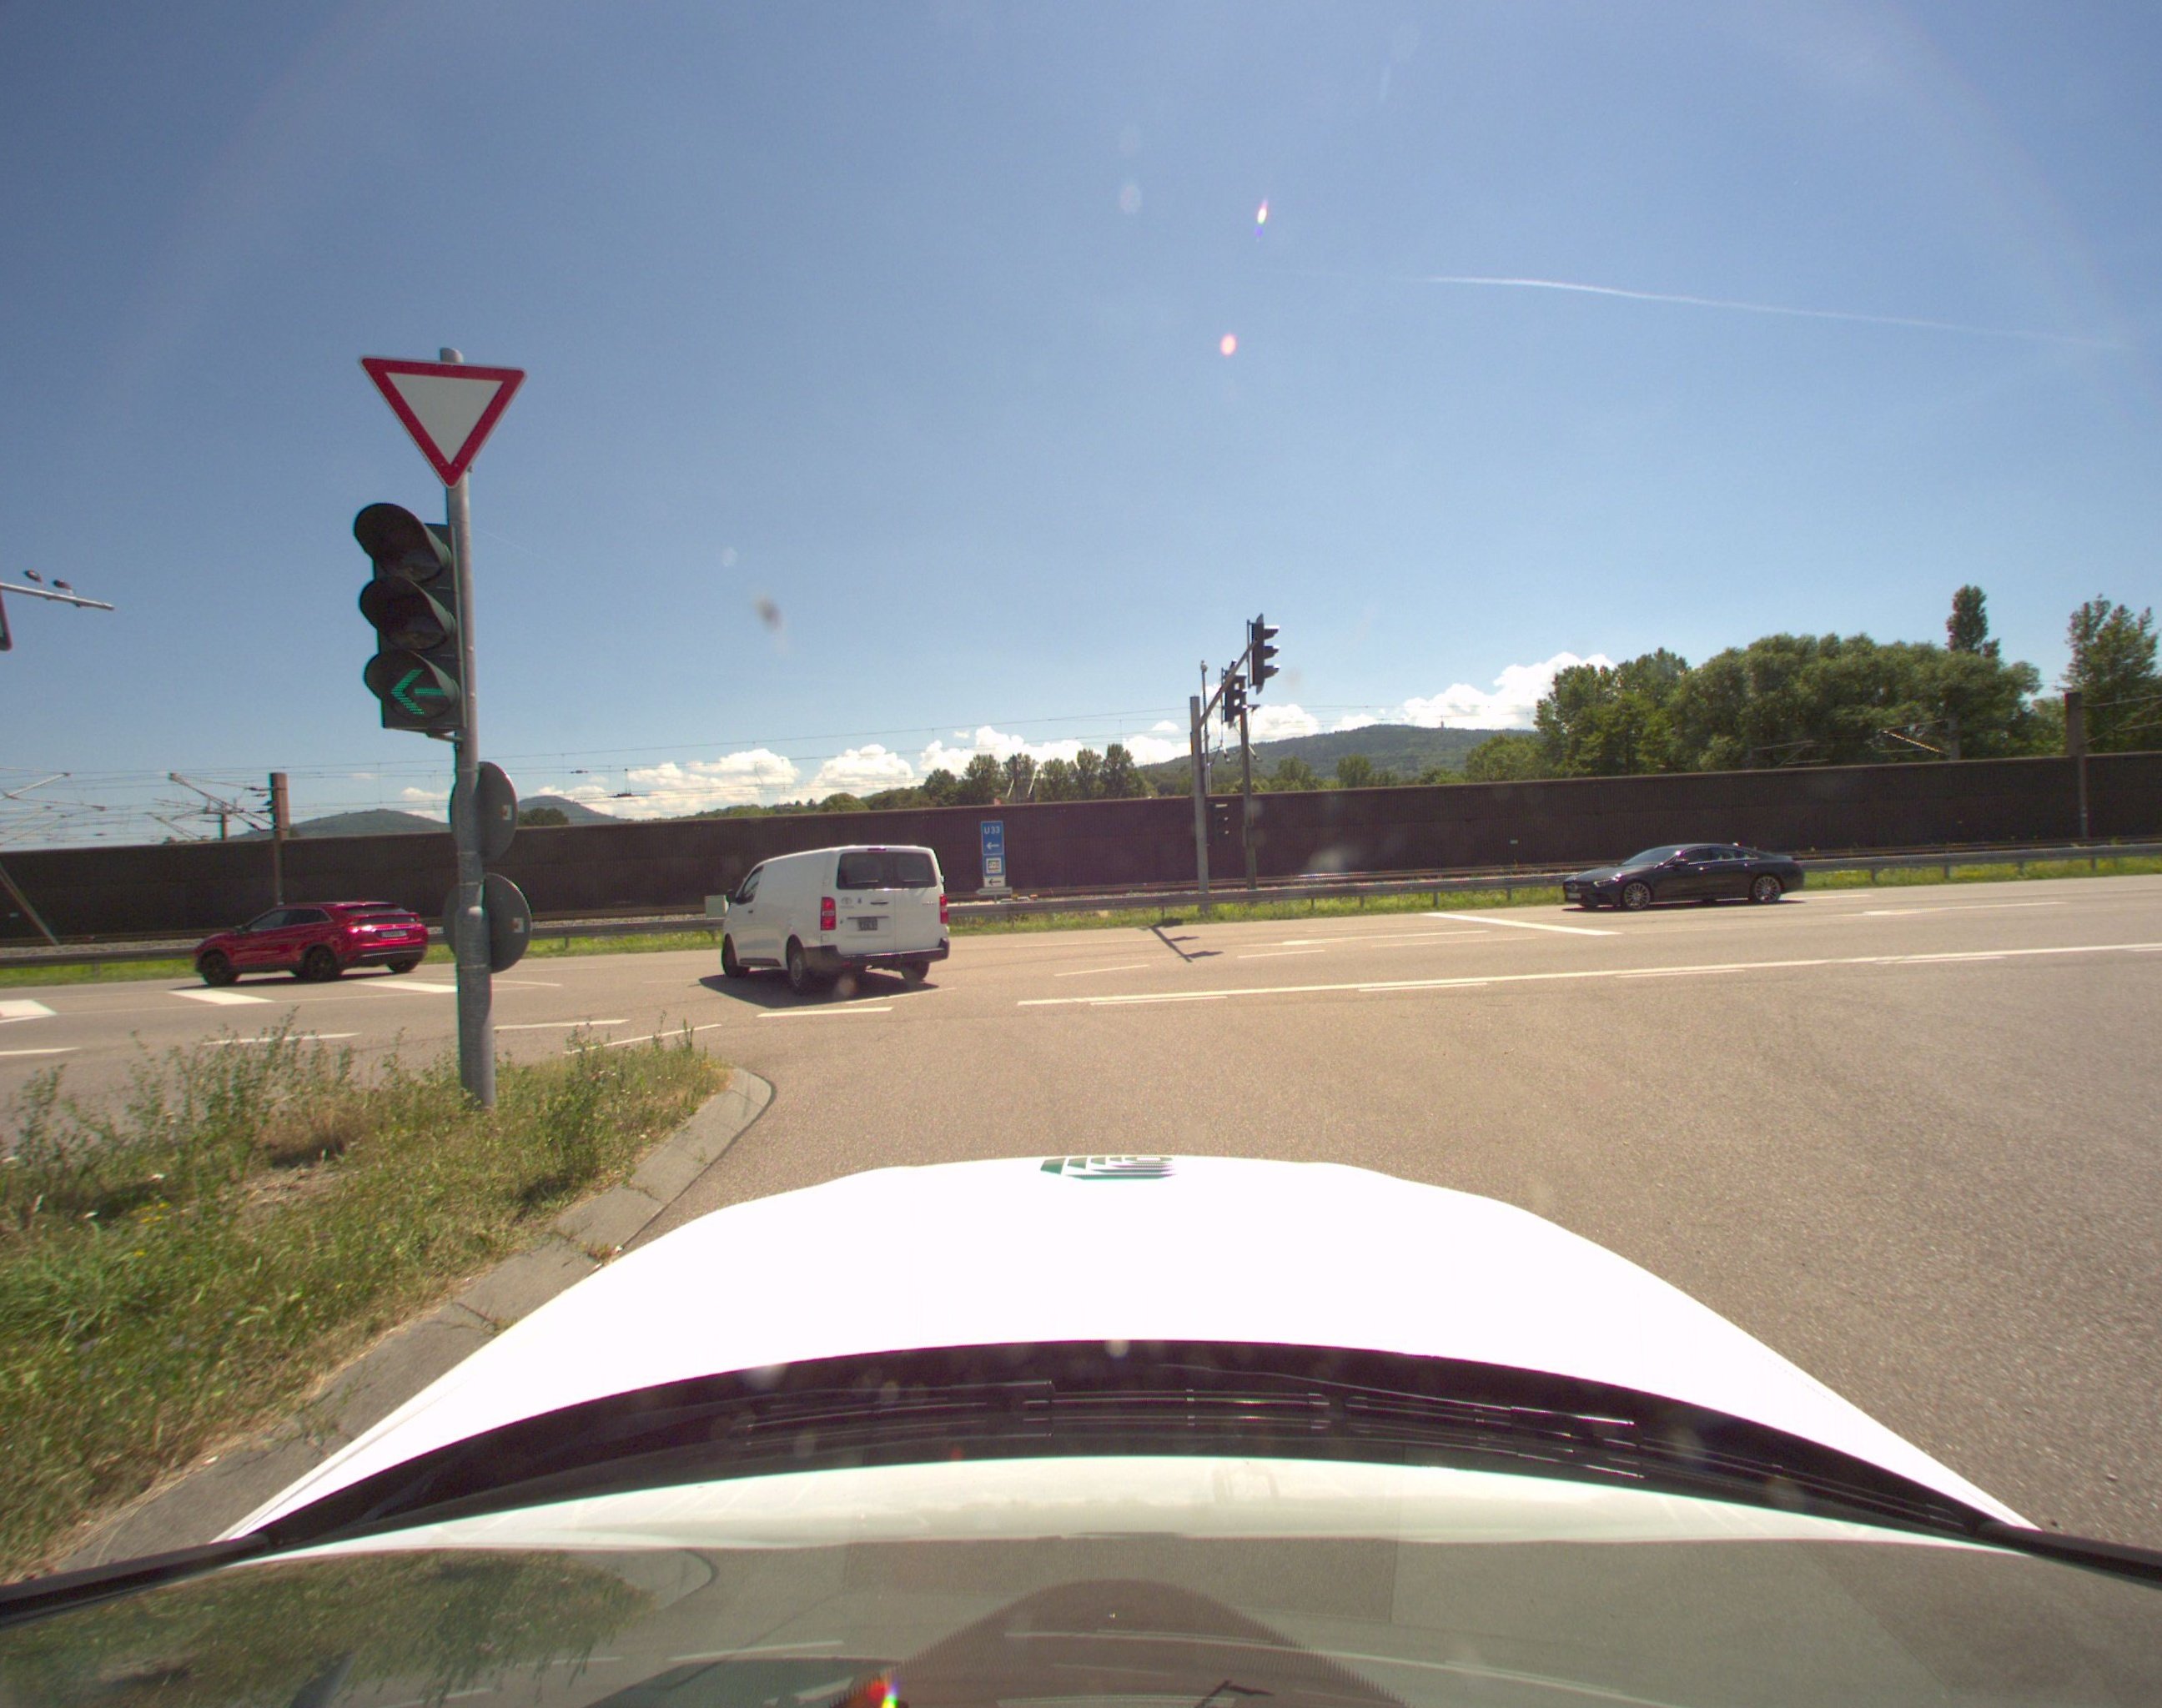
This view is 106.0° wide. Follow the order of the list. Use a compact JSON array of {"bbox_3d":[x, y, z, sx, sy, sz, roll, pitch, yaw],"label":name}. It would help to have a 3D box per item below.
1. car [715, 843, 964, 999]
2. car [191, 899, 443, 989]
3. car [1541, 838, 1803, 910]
[{"bbox_3d":[-3.872,0.930,12.352,1.961,1.882,4.824,-1,-3,-38],"label":"car"},{"bbox_3d":[-16.670,1.935,17.856,4.102,1.649,1.917,-3,-2,10],"label":"car"},{"bbox_3d":[13.478,0.470,18.798,4.617,1.364,1.913,-3,-2,0],"label":"car"}]
